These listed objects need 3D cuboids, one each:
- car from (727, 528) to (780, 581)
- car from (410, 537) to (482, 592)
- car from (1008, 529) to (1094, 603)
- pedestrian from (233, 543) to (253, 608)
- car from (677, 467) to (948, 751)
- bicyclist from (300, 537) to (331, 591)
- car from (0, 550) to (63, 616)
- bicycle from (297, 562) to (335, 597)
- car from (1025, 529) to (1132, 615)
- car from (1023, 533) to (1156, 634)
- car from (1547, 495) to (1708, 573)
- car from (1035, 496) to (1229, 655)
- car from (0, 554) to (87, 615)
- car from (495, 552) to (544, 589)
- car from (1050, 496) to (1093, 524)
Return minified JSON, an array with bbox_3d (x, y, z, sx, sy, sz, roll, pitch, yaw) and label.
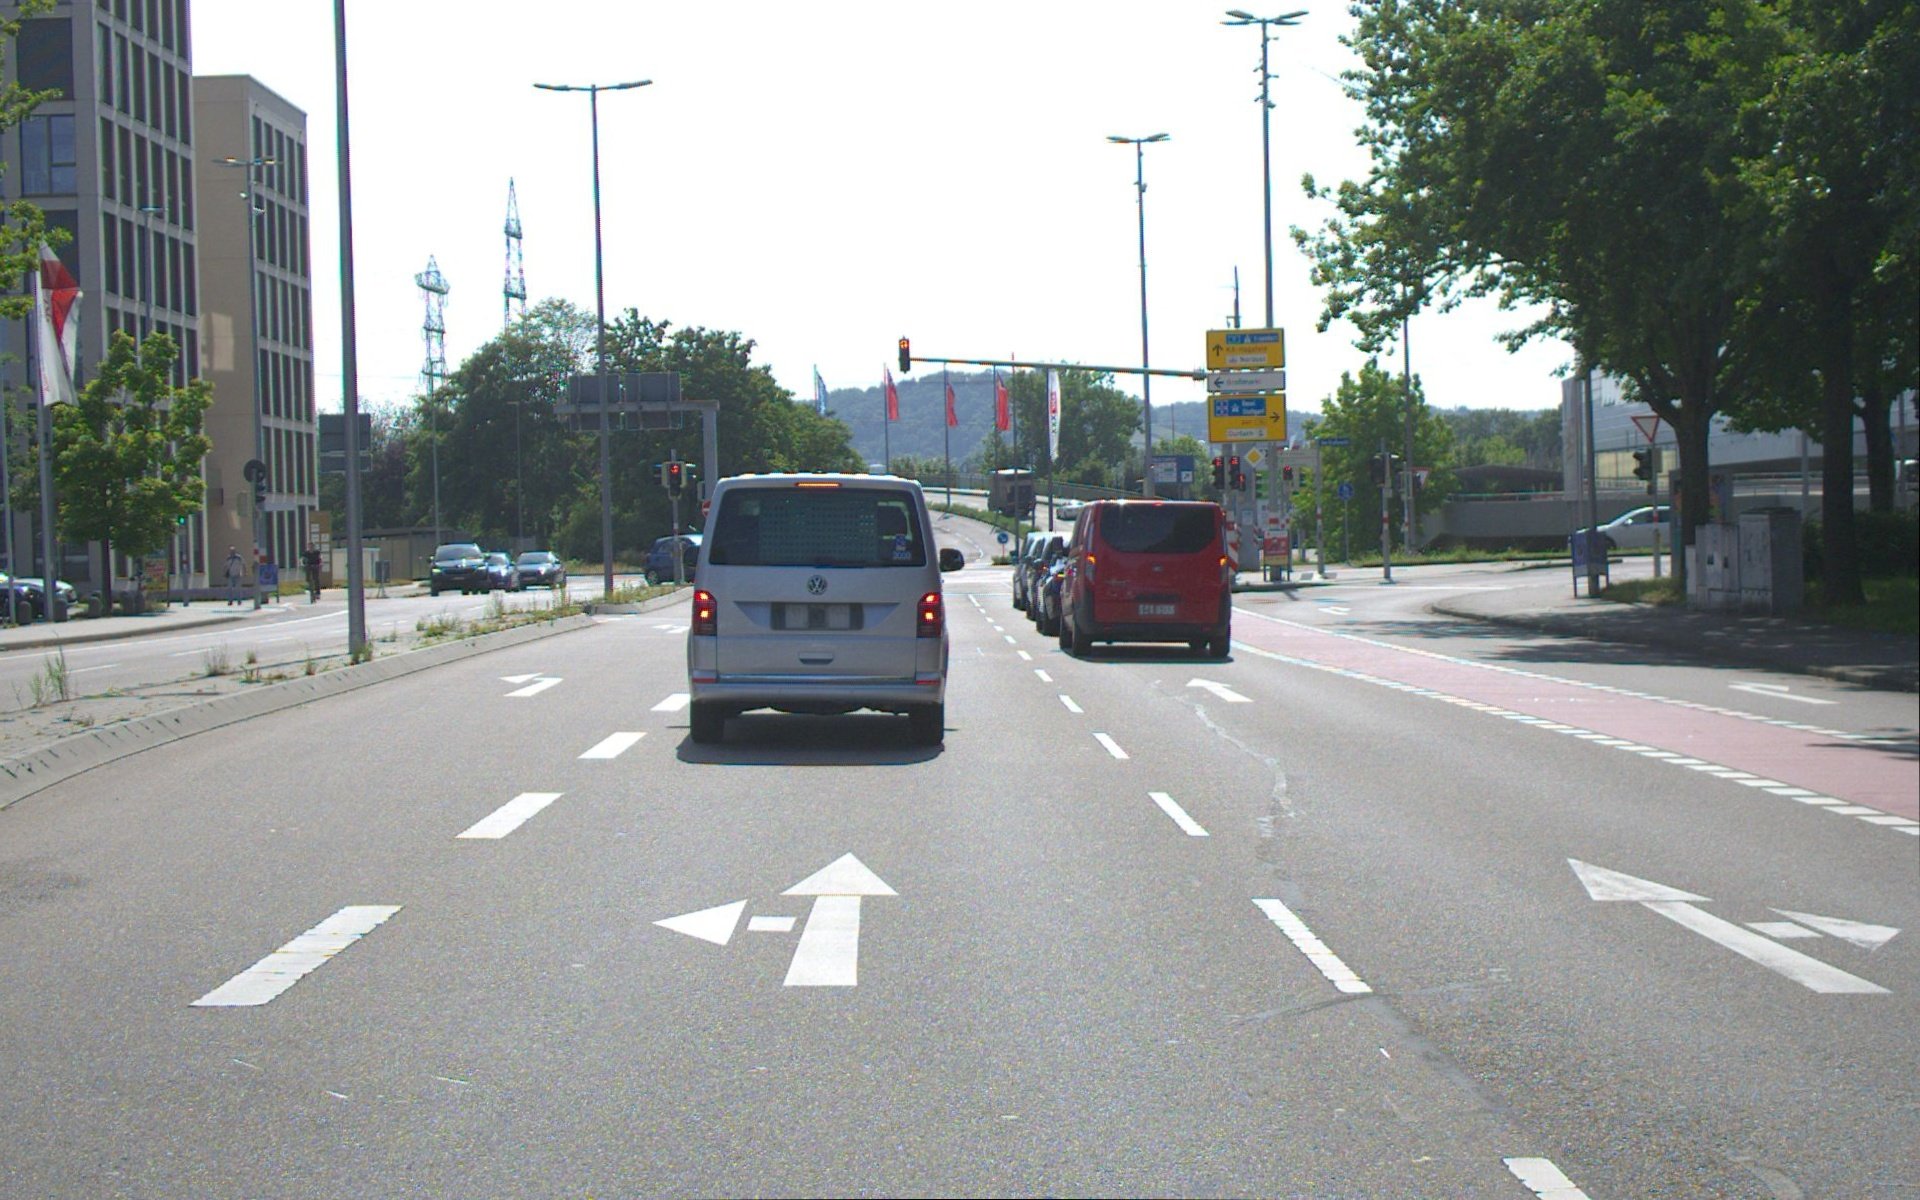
[{"bbox_3d":[-10.469,-2.317,174.042,2.405,2.552,6.897,-2,1,-5],"label":"car"},{"bbox_3d":[-16.203,-1.139,108.536,1.738,1.613,4.210,-4,1,-3],"label":"car"},{"bbox_3d":[1.828,-0.707,69.942,1.578,1.453,3.786,0,1,-1],"label":"car"},{"bbox_3d":[-22.144,-0.750,106.175,0.558,2.007,0.576,0,1,-9],"label":"pedestrian"},{"bbox_3d":[-1.060,0.021,25.965,1.884,1.983,4.000,0,1,-1],"label":"car"},{"bbox_3d":[-18.478,-1.028,98.542,0.618,1.521,1.036,-2,1,0],"label":"bicyclist"},{"bbox_3d":[-23.864,-0.305,82.870,3.874,1.459,1.868,-5,2,1],"label":"car"},{"bbox_3d":[-18.467,-0.599,98.657,0.680,0.937,1.973,-2,1,0],"label":"bicycle"},{"bbox_3d":[2.126,-0.528,62.658,1.746,1.511,4.078,0,1,-1],"label":"car"},{"bbox_3d":[1.911,-0.283,51.853,1.746,1.453,4.476,0,1,-1],"label":"car"},{"bbox_3d":[19.707,-1.956,101.629,4.402,1.987,1.481,-4,1,4],"label":"car"},{"bbox_3d":[2.181,-0.359,44.963,1.967,1.961,5.126,0,1,-4],"label":"car"},{"bbox_3d":[-23.771,-0.322,85.465,3.593,1.353,1.640,-5,2,0],"label":"car"},{"bbox_3d":[-17.585,-1.196,137.381,1.576,1.404,4.380,-2,1,-3],"label":"car"},{"bbox_3d":[8.198,-6.586,252.688,1.993,2.007,4.001,0,1,-16],"label":"car"}]
